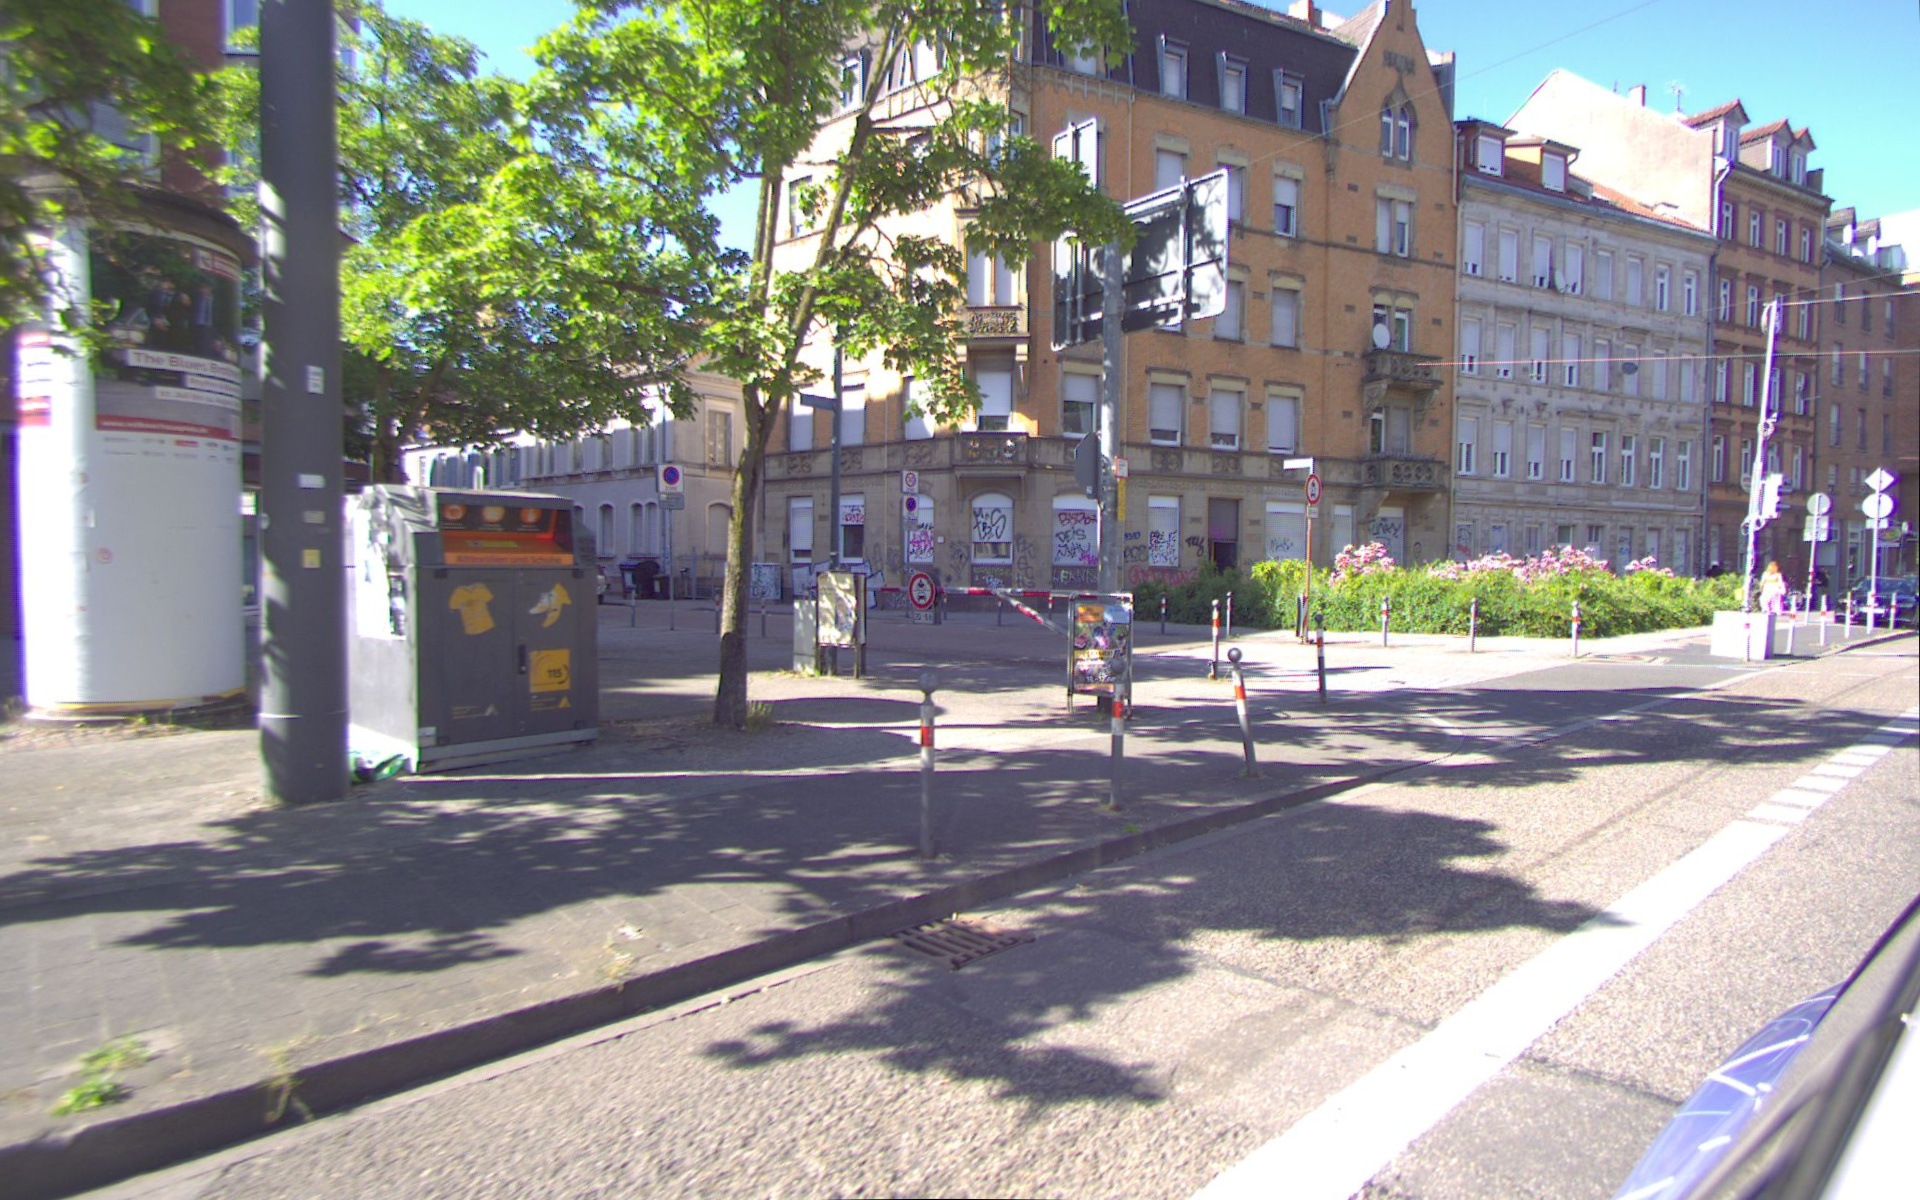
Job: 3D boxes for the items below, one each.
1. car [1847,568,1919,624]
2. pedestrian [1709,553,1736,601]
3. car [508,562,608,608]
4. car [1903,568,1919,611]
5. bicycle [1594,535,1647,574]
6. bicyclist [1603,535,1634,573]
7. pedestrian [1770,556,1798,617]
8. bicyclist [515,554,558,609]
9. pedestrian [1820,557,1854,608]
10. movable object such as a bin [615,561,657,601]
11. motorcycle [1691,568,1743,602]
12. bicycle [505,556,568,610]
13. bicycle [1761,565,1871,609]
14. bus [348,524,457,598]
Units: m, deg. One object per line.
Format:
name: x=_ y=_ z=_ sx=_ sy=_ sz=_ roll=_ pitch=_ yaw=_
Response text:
car: x=27.023 y=-0.170 z=29.191 sx=3.932 sy=1.502 sz=1.681 roll=-2 pitch=2 yaw=-42
pedestrian: x=30.037 y=-0.906 z=39.889 sx=0.817 sy=1.885 sz=0.695 roll=1 pitch=1 yaw=36
car: x=-14.342 y=-0.571 z=36.052 sx=3.981 sy=1.563 sz=1.613 roll=1 pitch=2 yaw=39
car: x=36.982 y=-0.406 z=37.949 sx=4.393 sy=1.544 sz=1.764 roll=-2 pitch=3 yaw=-39
bicycle: x=22.736 y=-1.539 z=34.810 sx=2.198 sy=1.302 sz=0.956 roll=-1 pitch=2 yaw=-41
bicyclist: x=22.602 y=-1.568 z=34.736 sx=0.847 sy=1.302 sz=0.693 roll=-1 pitch=2 yaw=-41
pedestrian: x=23.357 y=-0.398 z=28.696 sx=0.548 sy=1.697 sz=0.679 roll=1 pitch=1 yaw=36
bicyclist: x=-13.808 y=-0.604 z=33.007 sx=1.044 sy=1.746 sz=0.908 roll=1 pitch=2 yaw=37
pedestrian: x=36.066 y=-0.737 z=41.625 sx=1.345 sy=2.038 sz=0.844 roll=-1 pitch=2 yaw=-41
movable object such as a bin: x=-12.042 y=-0.707 z=37.617 sx=1.213 sy=1.462 sz=1.020 roll=1 pitch=2 yaw=42
motorcycle: x=29.910 y=-0.596 z=39.991 sx=1.622 sy=1.332 sz=0.708 roll=1 pitch=2 yaw=37
bicycle: x=-13.852 y=-0.580 z=33.054 sx=2.130 sy=1.701 sz=0.996 roll=1 pitch=2 yaw=38
bicycle: x=31.122 y=-0.537 z=36.719 sx=6.707 sy=1.433 sz=1.968 roll=-2 pitch=3 yaw=-40
bus: x=-25.040 y=-1.717 z=45.307 sx=6.243 sy=3.105 sz=2.387 roll=2 pitch=2 yaw=42
